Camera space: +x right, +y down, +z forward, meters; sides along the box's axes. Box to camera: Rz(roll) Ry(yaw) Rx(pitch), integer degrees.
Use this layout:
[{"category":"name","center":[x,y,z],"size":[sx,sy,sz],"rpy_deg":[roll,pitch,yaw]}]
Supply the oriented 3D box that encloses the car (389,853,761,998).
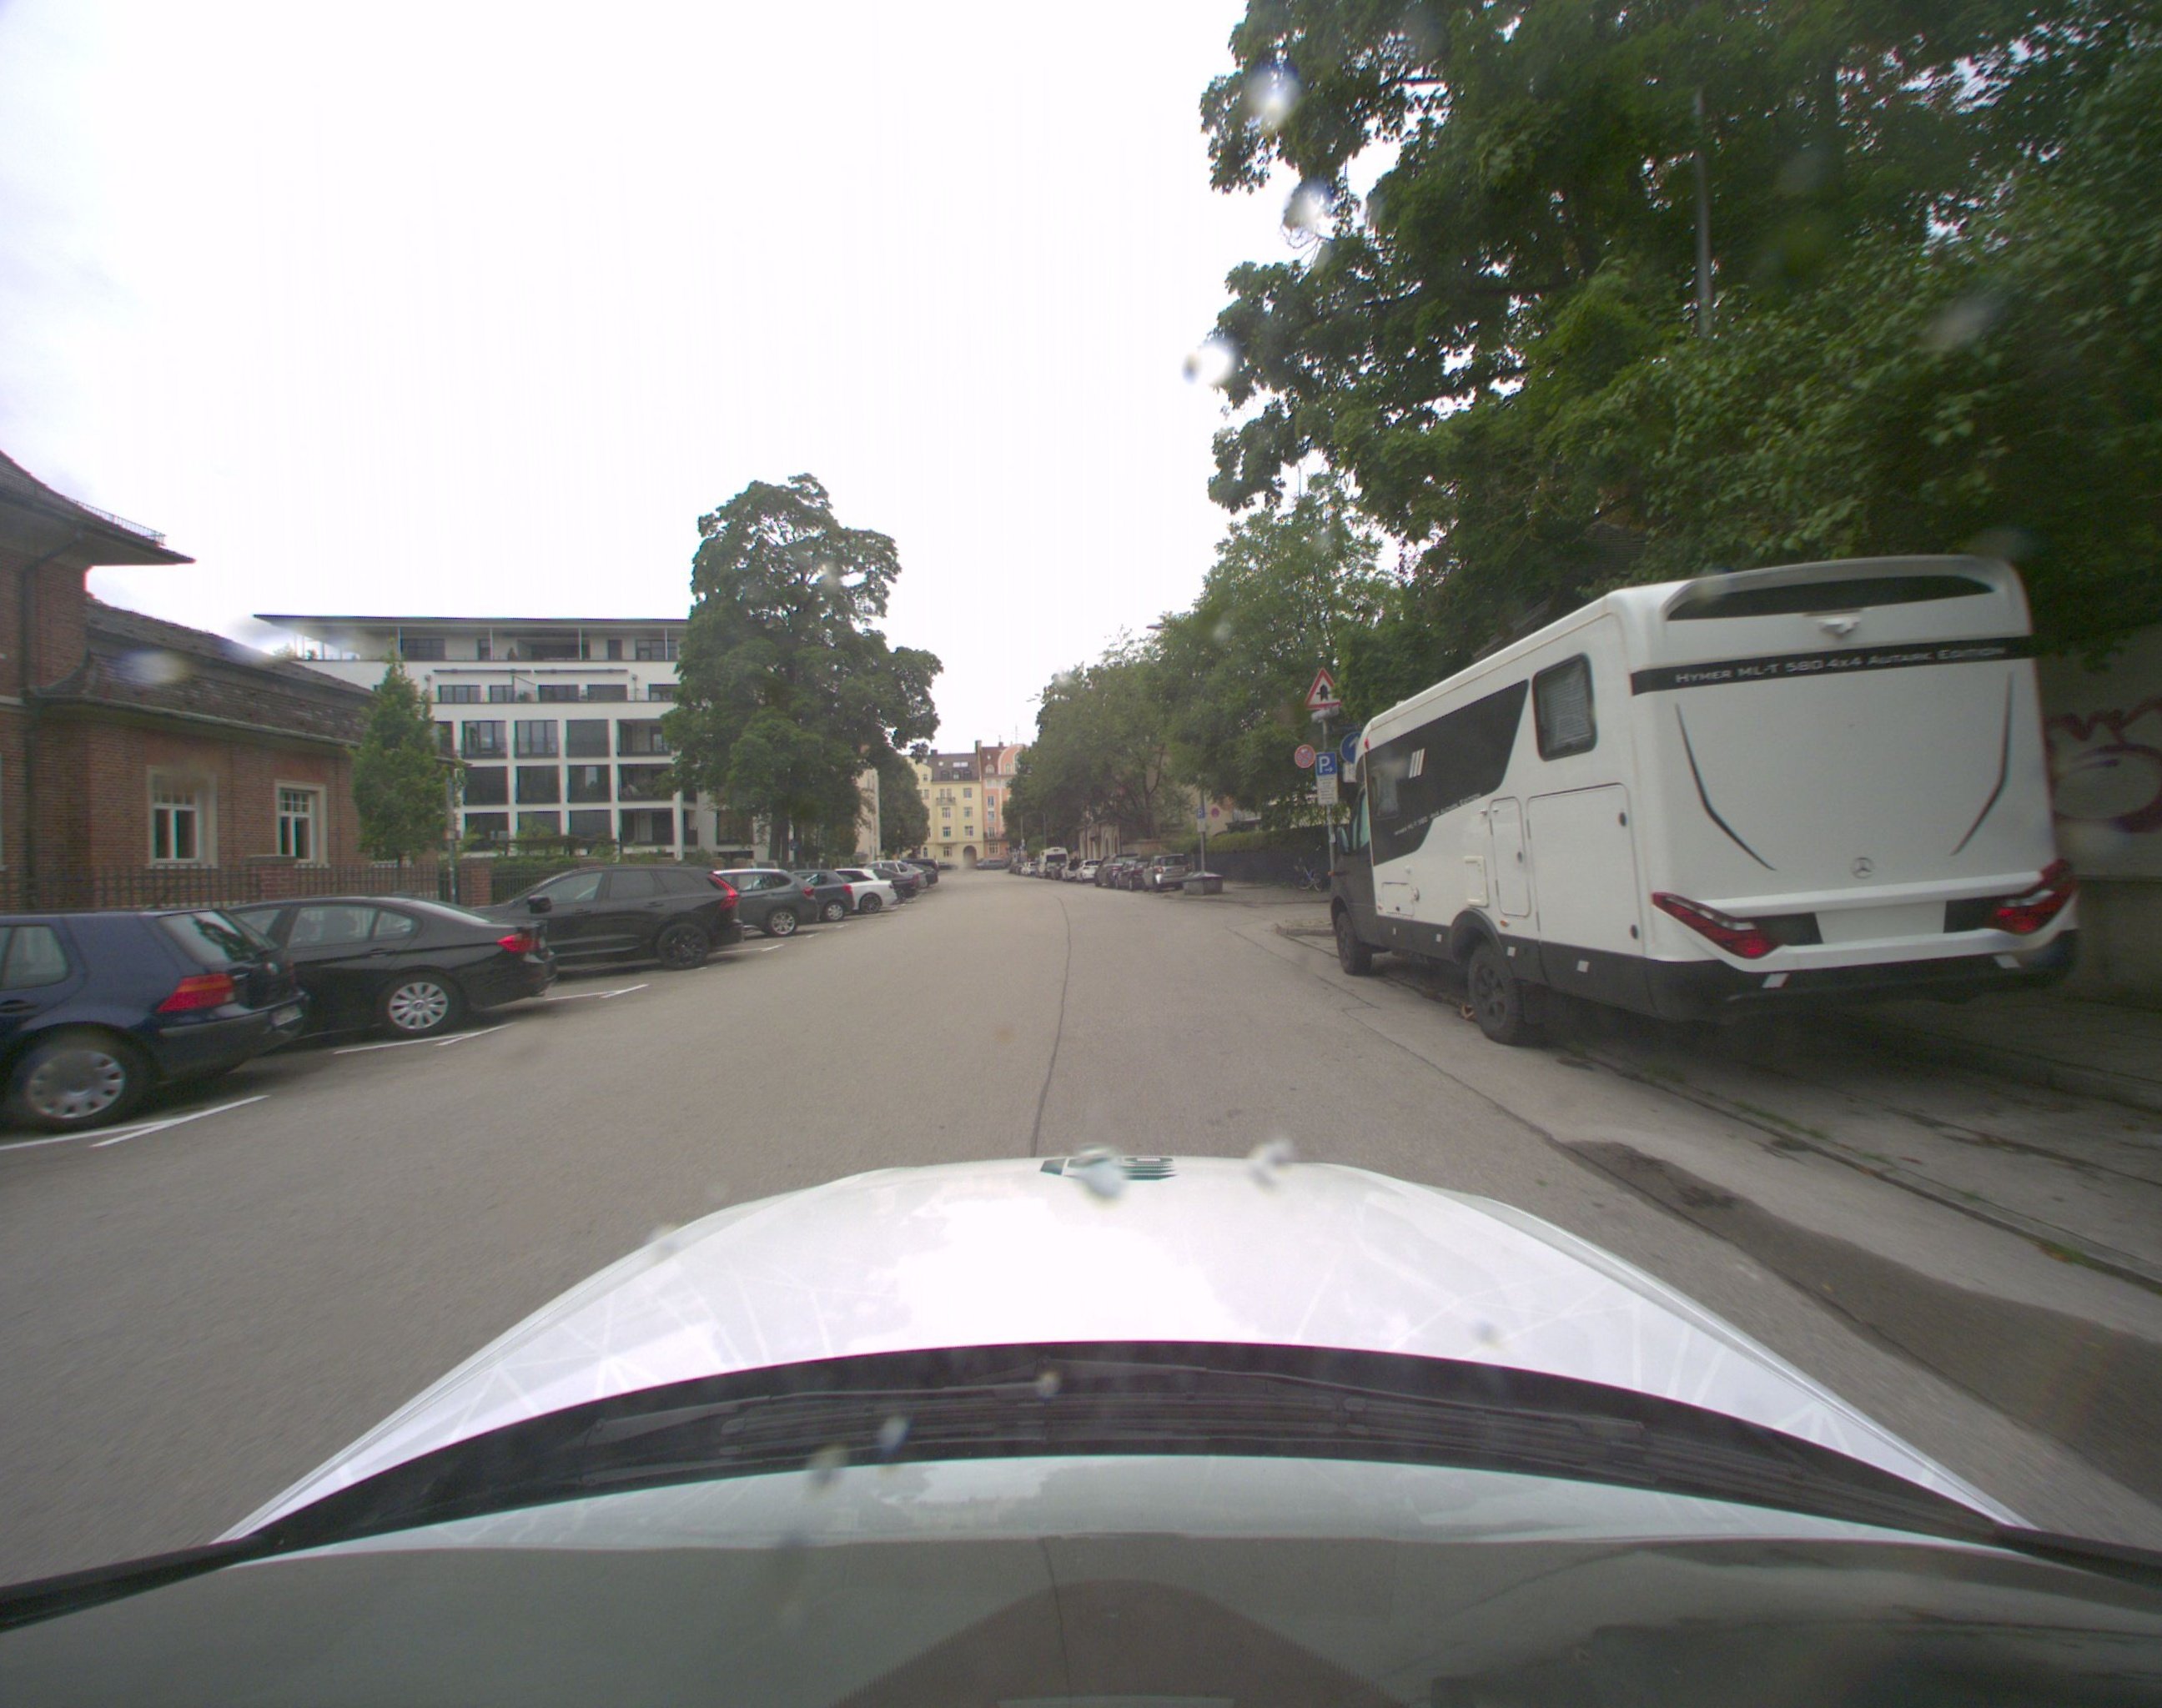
[{"category":"car","center":[-7.585,0.980,12.725],"size":[4.540,1.665,1.969],"rpy_deg":[-4,-1,-29]}]

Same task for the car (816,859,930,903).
[{"category":"car","center":[-9.294,1.182,36.562],"size":[4.436,1.699,2.111],"rpy_deg":[-2,-1,-41]}]

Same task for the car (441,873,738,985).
[{"category":"car","center":[-8.746,1.256,14.939],"size":[4.341,1.471,1.804],"rpy_deg":[-4,0,-28]}]

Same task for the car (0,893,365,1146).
[{"category":"car","center":[-8.017,1.178,5.410],"size":[4.540,1.451,1.803],"rpy_deg":[-4,0,-29]}]

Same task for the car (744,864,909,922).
[{"category":"car","center":[-7.926,1.160,25.503],"size":[4.534,1.451,1.877],"rpy_deg":[-3,0,-33]}]

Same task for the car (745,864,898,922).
[{"category":"car","center":[-8.790,1.280,27.729],"size":[4.535,1.509,1.912],"rpy_deg":[-5,0,-33]}]

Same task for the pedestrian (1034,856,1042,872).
[{"category":"pedestrian","center":[-5.285,1.216,100.037],"size":[0.773,2.013,0.561],"rpy_deg":[-2,-1,-10]}]

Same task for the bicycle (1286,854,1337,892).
[{"category":"bicycle","center":[7.489,0.589,26.518],"size":[0.806,1.162,1.967],"rpy_deg":[-2,0,-9]}]

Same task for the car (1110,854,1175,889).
[{"category":"car","center":[2.816,0.805,38.186],"size":[1.878,1.427,4.205],"rpy_deg":[-4,0,-11]}]

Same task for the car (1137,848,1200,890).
[{"category":"car","center":[3.616,0.638,34.138],"size":[1.740,1.536,2.934],"rpy_deg":[-4,-1,-12]}]

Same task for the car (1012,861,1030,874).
[{"category":"car","center":[-7.561,1.707,102.208],"size":[1.671,1.344,3.822],"rpy_deg":[-4,1,-12]}]

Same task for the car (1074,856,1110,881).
[{"category":"car","center":[0.654,0.960,52.211],"size":[1.684,1.441,3.988],"rpy_deg":[-3,-1,-8]}]

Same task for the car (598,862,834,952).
[{"category":"car","center":[-8.026,1.077,18.030],"size":[4.542,1.567,1.871],"rpy_deg":[-3,0,-31]}]

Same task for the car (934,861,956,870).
[{"category":"car","center":[-26.293,2.298,157.312],"size":[3.985,1.586,1.698],"rpy_deg":[-2,0,-8]}]

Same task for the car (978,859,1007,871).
[{"category":"car","center":[-14.867,1.810,136.470],"size":[4.705,1.881,1.833],"rpy_deg":[-2,-1,-11]}]

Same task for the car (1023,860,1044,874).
[{"category":"car","center":[-5.149,1.365,87.783],"size":[1.707,1.408,4.116],"rpy_deg":[-4,0,-10]}]

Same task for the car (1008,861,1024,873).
[{"category":"car","center":[-8.550,1.679,107.018],"size":[1.671,1.344,3.822],"rpy_deg":[-4,1,-12]}]

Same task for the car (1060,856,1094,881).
[{"category":"car","center":[-0.333,0.987,57.241],"size":[1.706,1.537,4.227],"rpy_deg":[-4,0,-8]}]

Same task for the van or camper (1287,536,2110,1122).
[{"category":"van or camper","center":[4.090,-0.137,7.805],"size":[2.265,2.906,7.275],"rpy_deg":[-2,0,0]}]

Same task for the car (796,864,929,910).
[{"category":"car","center":[-8.273,1.220,30.991],"size":[4.435,1.439,1.942],"rpy_deg":[-2,-1,-40]}]

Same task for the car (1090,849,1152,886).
[{"category":"car","center":[2.024,0.699,42.749],"size":[1.995,1.711,4.865],"rpy_deg":[-4,0,-11]}]

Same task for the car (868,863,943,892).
[{"category":"car","center":[-10.905,1.469,50.753],"size":[4.240,1.461,1.717],"rpy_deg":[-4,0,-40]}]

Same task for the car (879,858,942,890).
[{"category":"car","center":[-12.730,1.477,60.945],"size":[4.239,2.066,1.717],"rpy_deg":[-4,0,-38]}]

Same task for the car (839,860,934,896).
[{"category":"car","center":[-10.245,1.268,42.872],"size":[4.426,1.621,2.066],"rpy_deg":[-3,-1,-30]}]

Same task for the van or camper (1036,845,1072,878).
[{"category":"van or camper","center":[-2.351,0.673,69.705],"size":[2.192,2.550,5.709],"rpy_deg":[-4,0,-9]}]

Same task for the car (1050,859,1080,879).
[{"category":"car","center":[-1.250,1.168,62.942],"size":[1.707,1.369,4.427],"rpy_deg":[-4,0,-9]}]

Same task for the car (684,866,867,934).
[{"category":"car","center":[-8.274,1.183,22.150],"size":[4.409,1.451,1.641],"rpy_deg":[-3,0,-30]}]

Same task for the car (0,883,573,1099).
[{"category":"car","center":[-7.828,1.181,8.076],"size":[4.540,1.418,1.909],"rpy_deg":[-4,0,-29]}]
